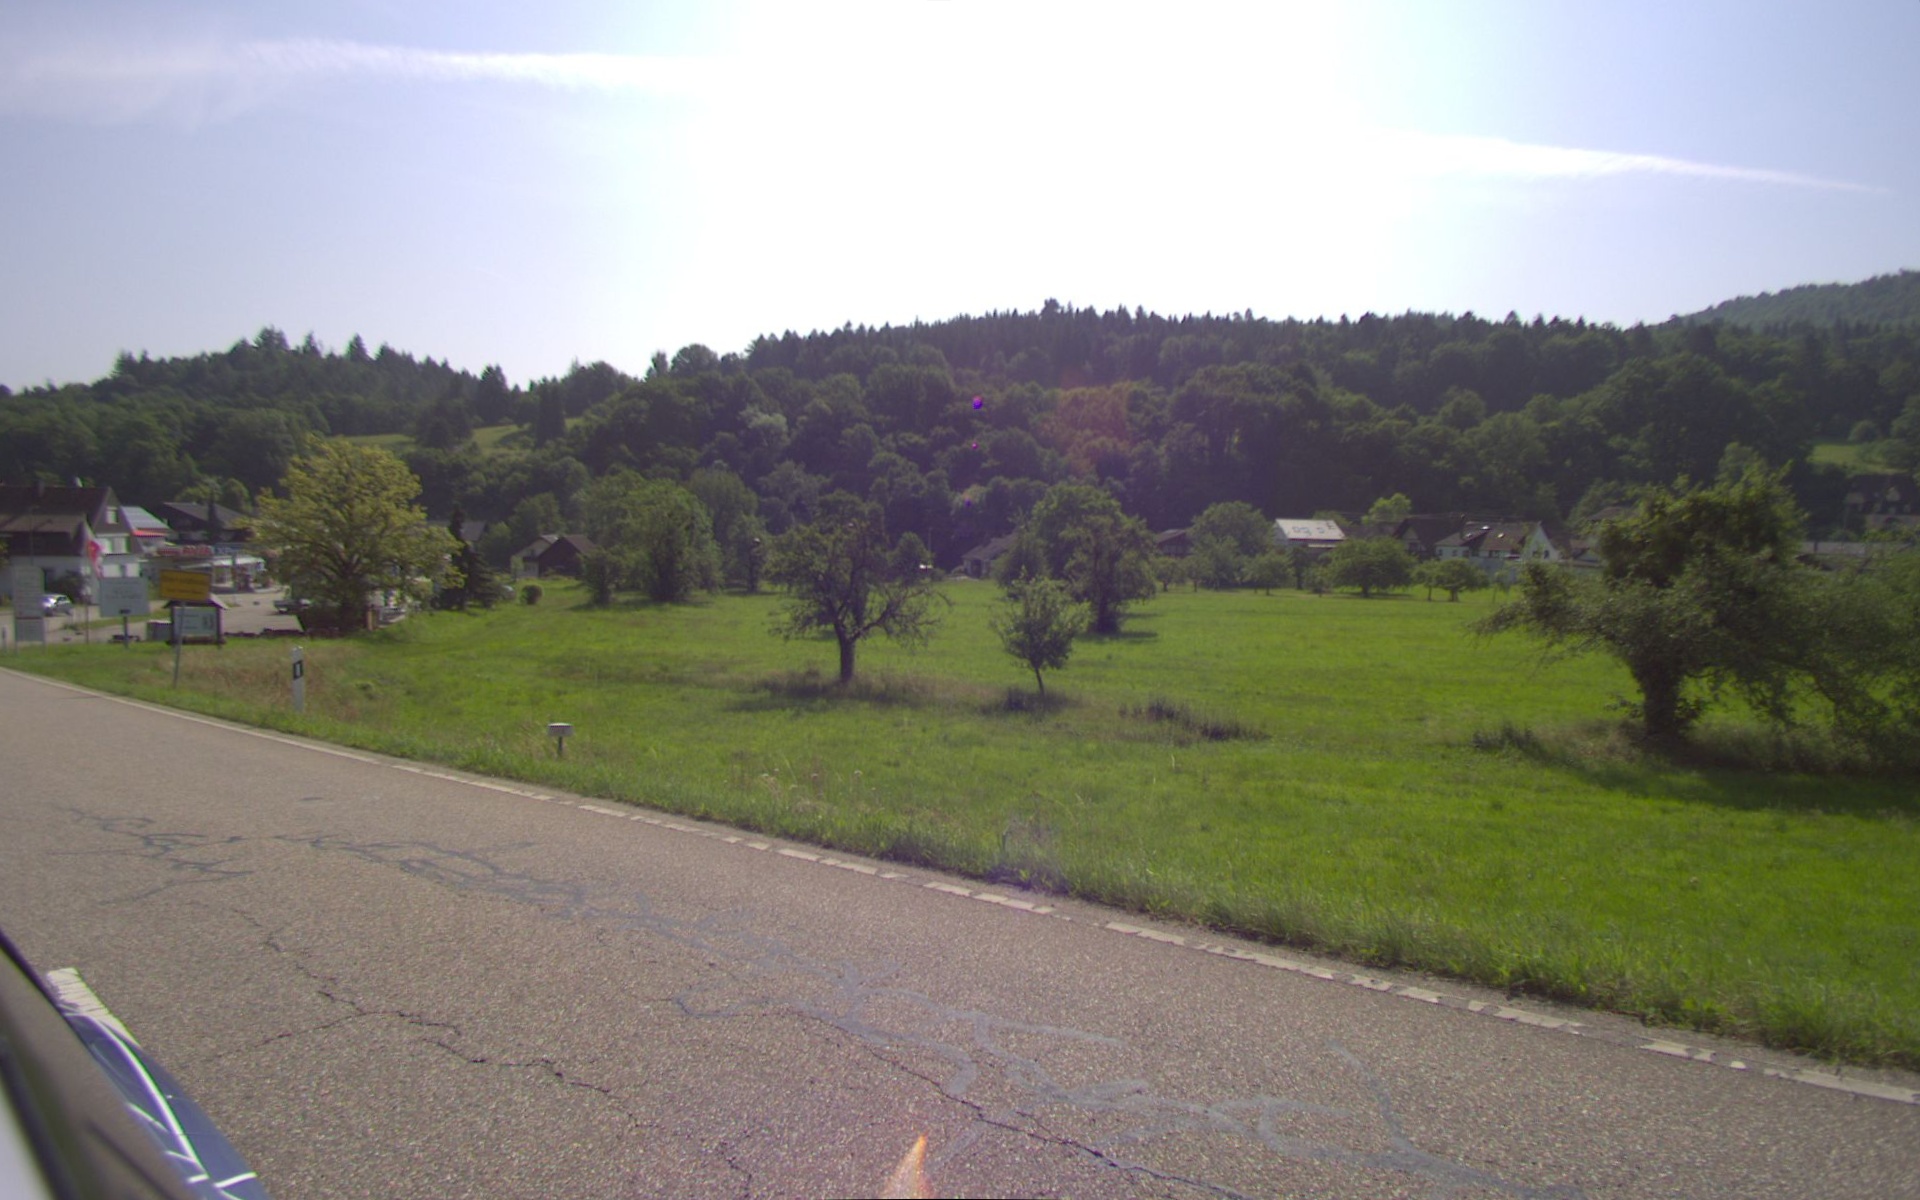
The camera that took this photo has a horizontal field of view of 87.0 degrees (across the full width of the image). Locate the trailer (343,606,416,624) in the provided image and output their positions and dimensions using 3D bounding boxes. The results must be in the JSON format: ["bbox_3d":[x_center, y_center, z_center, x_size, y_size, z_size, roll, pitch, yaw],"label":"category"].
[{"bbox_3d":[-38.457,0.970,67.189,3.878,0.946,1.874,-1,4,-18],"label":"trailer"}]

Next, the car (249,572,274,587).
[{"bbox_3d":[-96.345,-2.876,139.609,1.657,1.829,4.013,-2,4,-16],"label":"car"}]

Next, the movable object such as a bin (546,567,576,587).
[{"bbox_3d":[-65.818,-3.812,167.025,4.132,3.161,2.203,0,2,-1],"label":"movable object such as a bin"}]

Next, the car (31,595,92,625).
[{"bbox_3d":[-63.264,0.649,71.314,1.738,1.758,3.994,-1,4,-18],"label":"car"}]

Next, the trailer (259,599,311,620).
[{"bbox_3d":[-50.522,0.699,75.816,1.965,1.235,5.565,-2,3,-20],"label":"trailer"}]

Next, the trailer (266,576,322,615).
[{"bbox_3d":[-53.002,-0.385,80.613,3.343,2.933,1.890,-2,2,-23],"label":"trailer"}]
